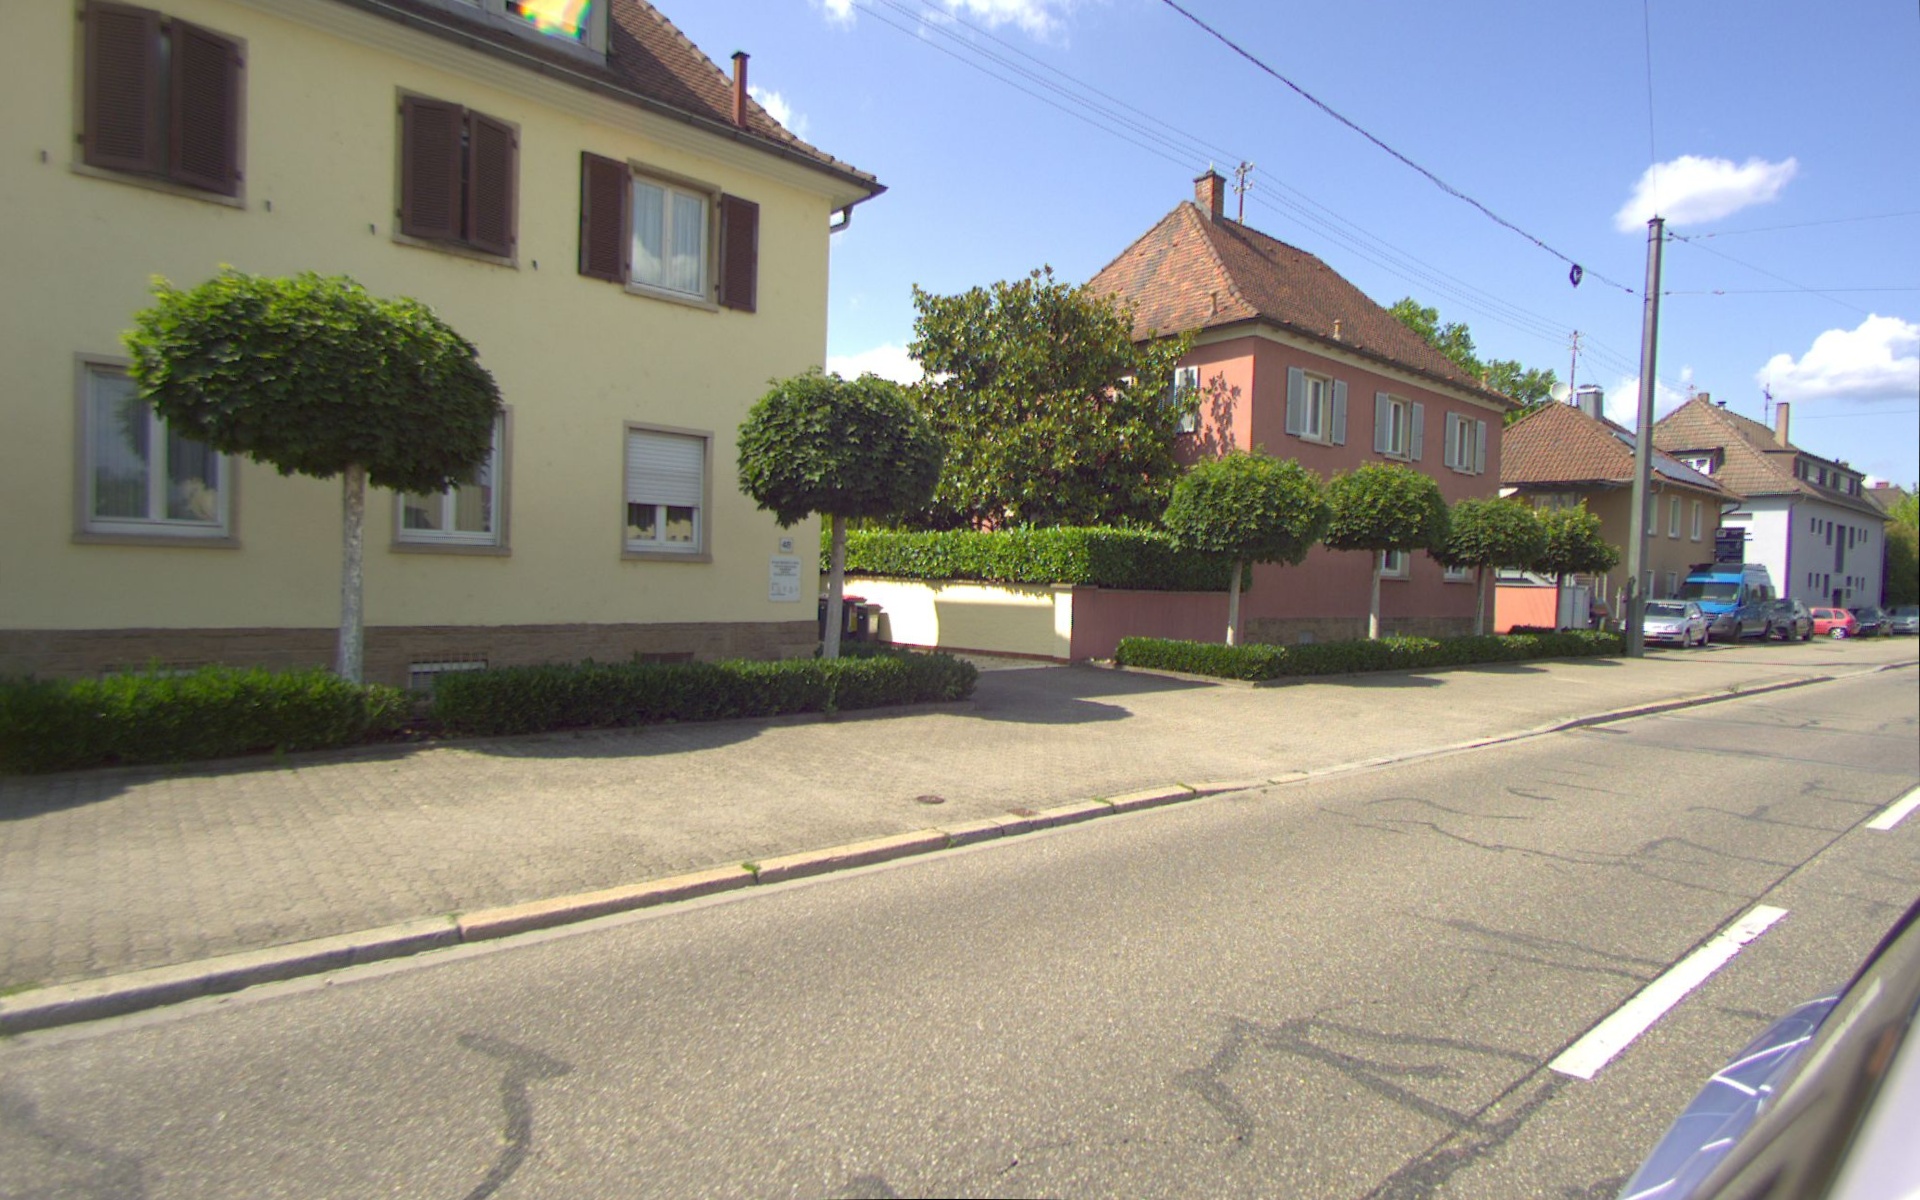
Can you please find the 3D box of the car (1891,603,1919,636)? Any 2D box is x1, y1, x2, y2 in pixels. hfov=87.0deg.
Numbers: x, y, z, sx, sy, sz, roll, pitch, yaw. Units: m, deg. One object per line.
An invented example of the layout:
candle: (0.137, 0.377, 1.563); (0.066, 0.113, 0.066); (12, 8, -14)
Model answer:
car: (52.481, 1.060, 55.293); (4.684, 1.667, 1.761); (0, 3, -40)

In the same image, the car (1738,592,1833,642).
car: (32.357, 0.658, 39.603); (4.775, 1.732, 1.842); (1, 3, -39)

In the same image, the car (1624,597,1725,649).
car: (22.293, 0.660, 31.519); (4.276, 1.426, 1.652); (0, 3, -43)

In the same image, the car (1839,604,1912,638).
car: (44.690, 1.007, 49.381); (4.768, 1.441, 1.804); (1, 3, -38)

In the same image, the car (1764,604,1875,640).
car: (39.608, 0.977, 46.693); (1.696, 1.397, 3.658); (0, 2, -39)

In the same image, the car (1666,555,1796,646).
car: (27.448, -0.001, 35.944); (6.129, 2.967, 2.157); (0, 1, -38)
